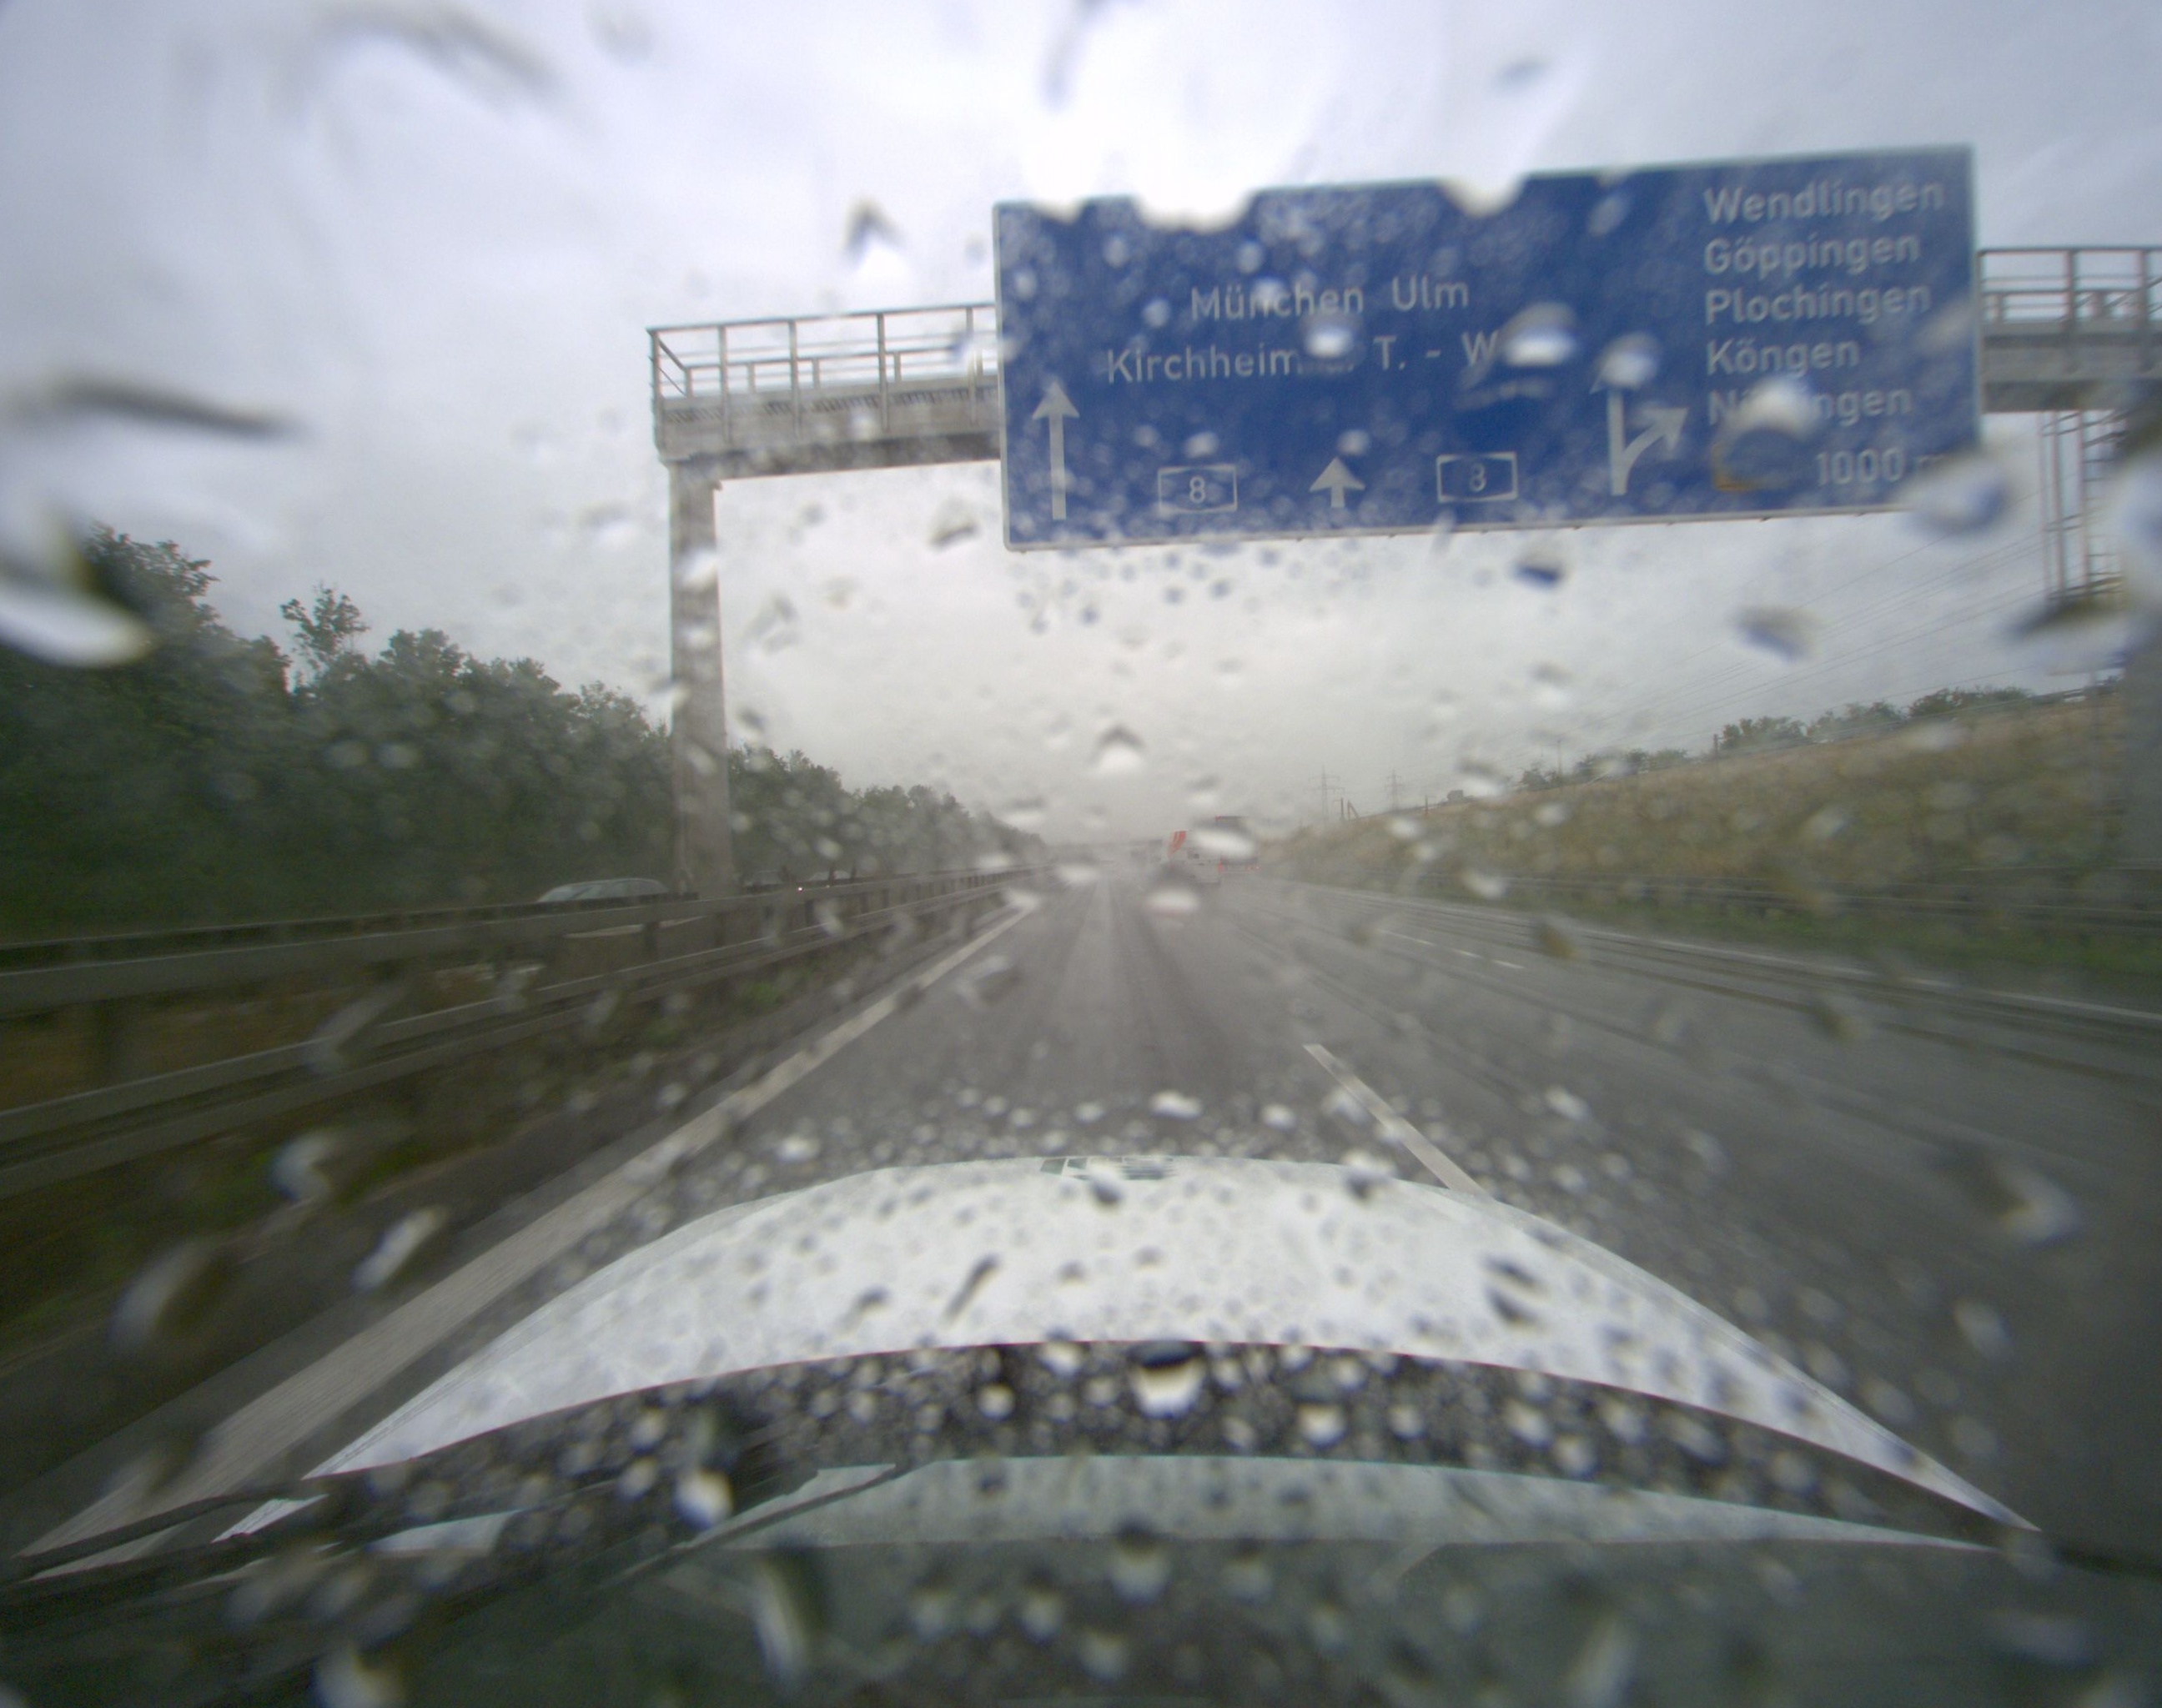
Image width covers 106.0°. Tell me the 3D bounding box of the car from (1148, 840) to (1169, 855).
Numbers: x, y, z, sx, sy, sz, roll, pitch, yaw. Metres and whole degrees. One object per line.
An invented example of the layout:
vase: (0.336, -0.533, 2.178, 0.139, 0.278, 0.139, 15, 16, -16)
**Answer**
car: (11.099, -0.950, 117.042, 2.778, 2.013, 4.995, 0, 1, 2)

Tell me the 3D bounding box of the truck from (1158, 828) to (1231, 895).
truck: (4.456, 0.243, 32.969, 2.410, 2.492, 5.564, 0, 1, 2)

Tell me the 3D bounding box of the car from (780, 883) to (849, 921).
car: (-13.995, 2.496, 43.077, 1.987, 1.662, 4.783, 0, 1, 1)

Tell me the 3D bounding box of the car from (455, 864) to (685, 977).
car: (-10.904, 1.291, 17.946, 1.793, 2.013, 5.028, 0, 1, 1)

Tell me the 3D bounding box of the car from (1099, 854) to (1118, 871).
car: (2.343, 0.727, 69.734, 1.599, 1.338, 3.850, 0, 1, 2)

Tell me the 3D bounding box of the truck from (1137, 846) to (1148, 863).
truck: (13.441, 0.041, 177.557, 2.102, 3.516, 5.248, 0, 1, 0)

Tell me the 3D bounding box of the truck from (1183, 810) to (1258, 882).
truck: (9.923, -0.472, 60.067, 3.029, 4.588, 16.353, 0, 0, 1)
